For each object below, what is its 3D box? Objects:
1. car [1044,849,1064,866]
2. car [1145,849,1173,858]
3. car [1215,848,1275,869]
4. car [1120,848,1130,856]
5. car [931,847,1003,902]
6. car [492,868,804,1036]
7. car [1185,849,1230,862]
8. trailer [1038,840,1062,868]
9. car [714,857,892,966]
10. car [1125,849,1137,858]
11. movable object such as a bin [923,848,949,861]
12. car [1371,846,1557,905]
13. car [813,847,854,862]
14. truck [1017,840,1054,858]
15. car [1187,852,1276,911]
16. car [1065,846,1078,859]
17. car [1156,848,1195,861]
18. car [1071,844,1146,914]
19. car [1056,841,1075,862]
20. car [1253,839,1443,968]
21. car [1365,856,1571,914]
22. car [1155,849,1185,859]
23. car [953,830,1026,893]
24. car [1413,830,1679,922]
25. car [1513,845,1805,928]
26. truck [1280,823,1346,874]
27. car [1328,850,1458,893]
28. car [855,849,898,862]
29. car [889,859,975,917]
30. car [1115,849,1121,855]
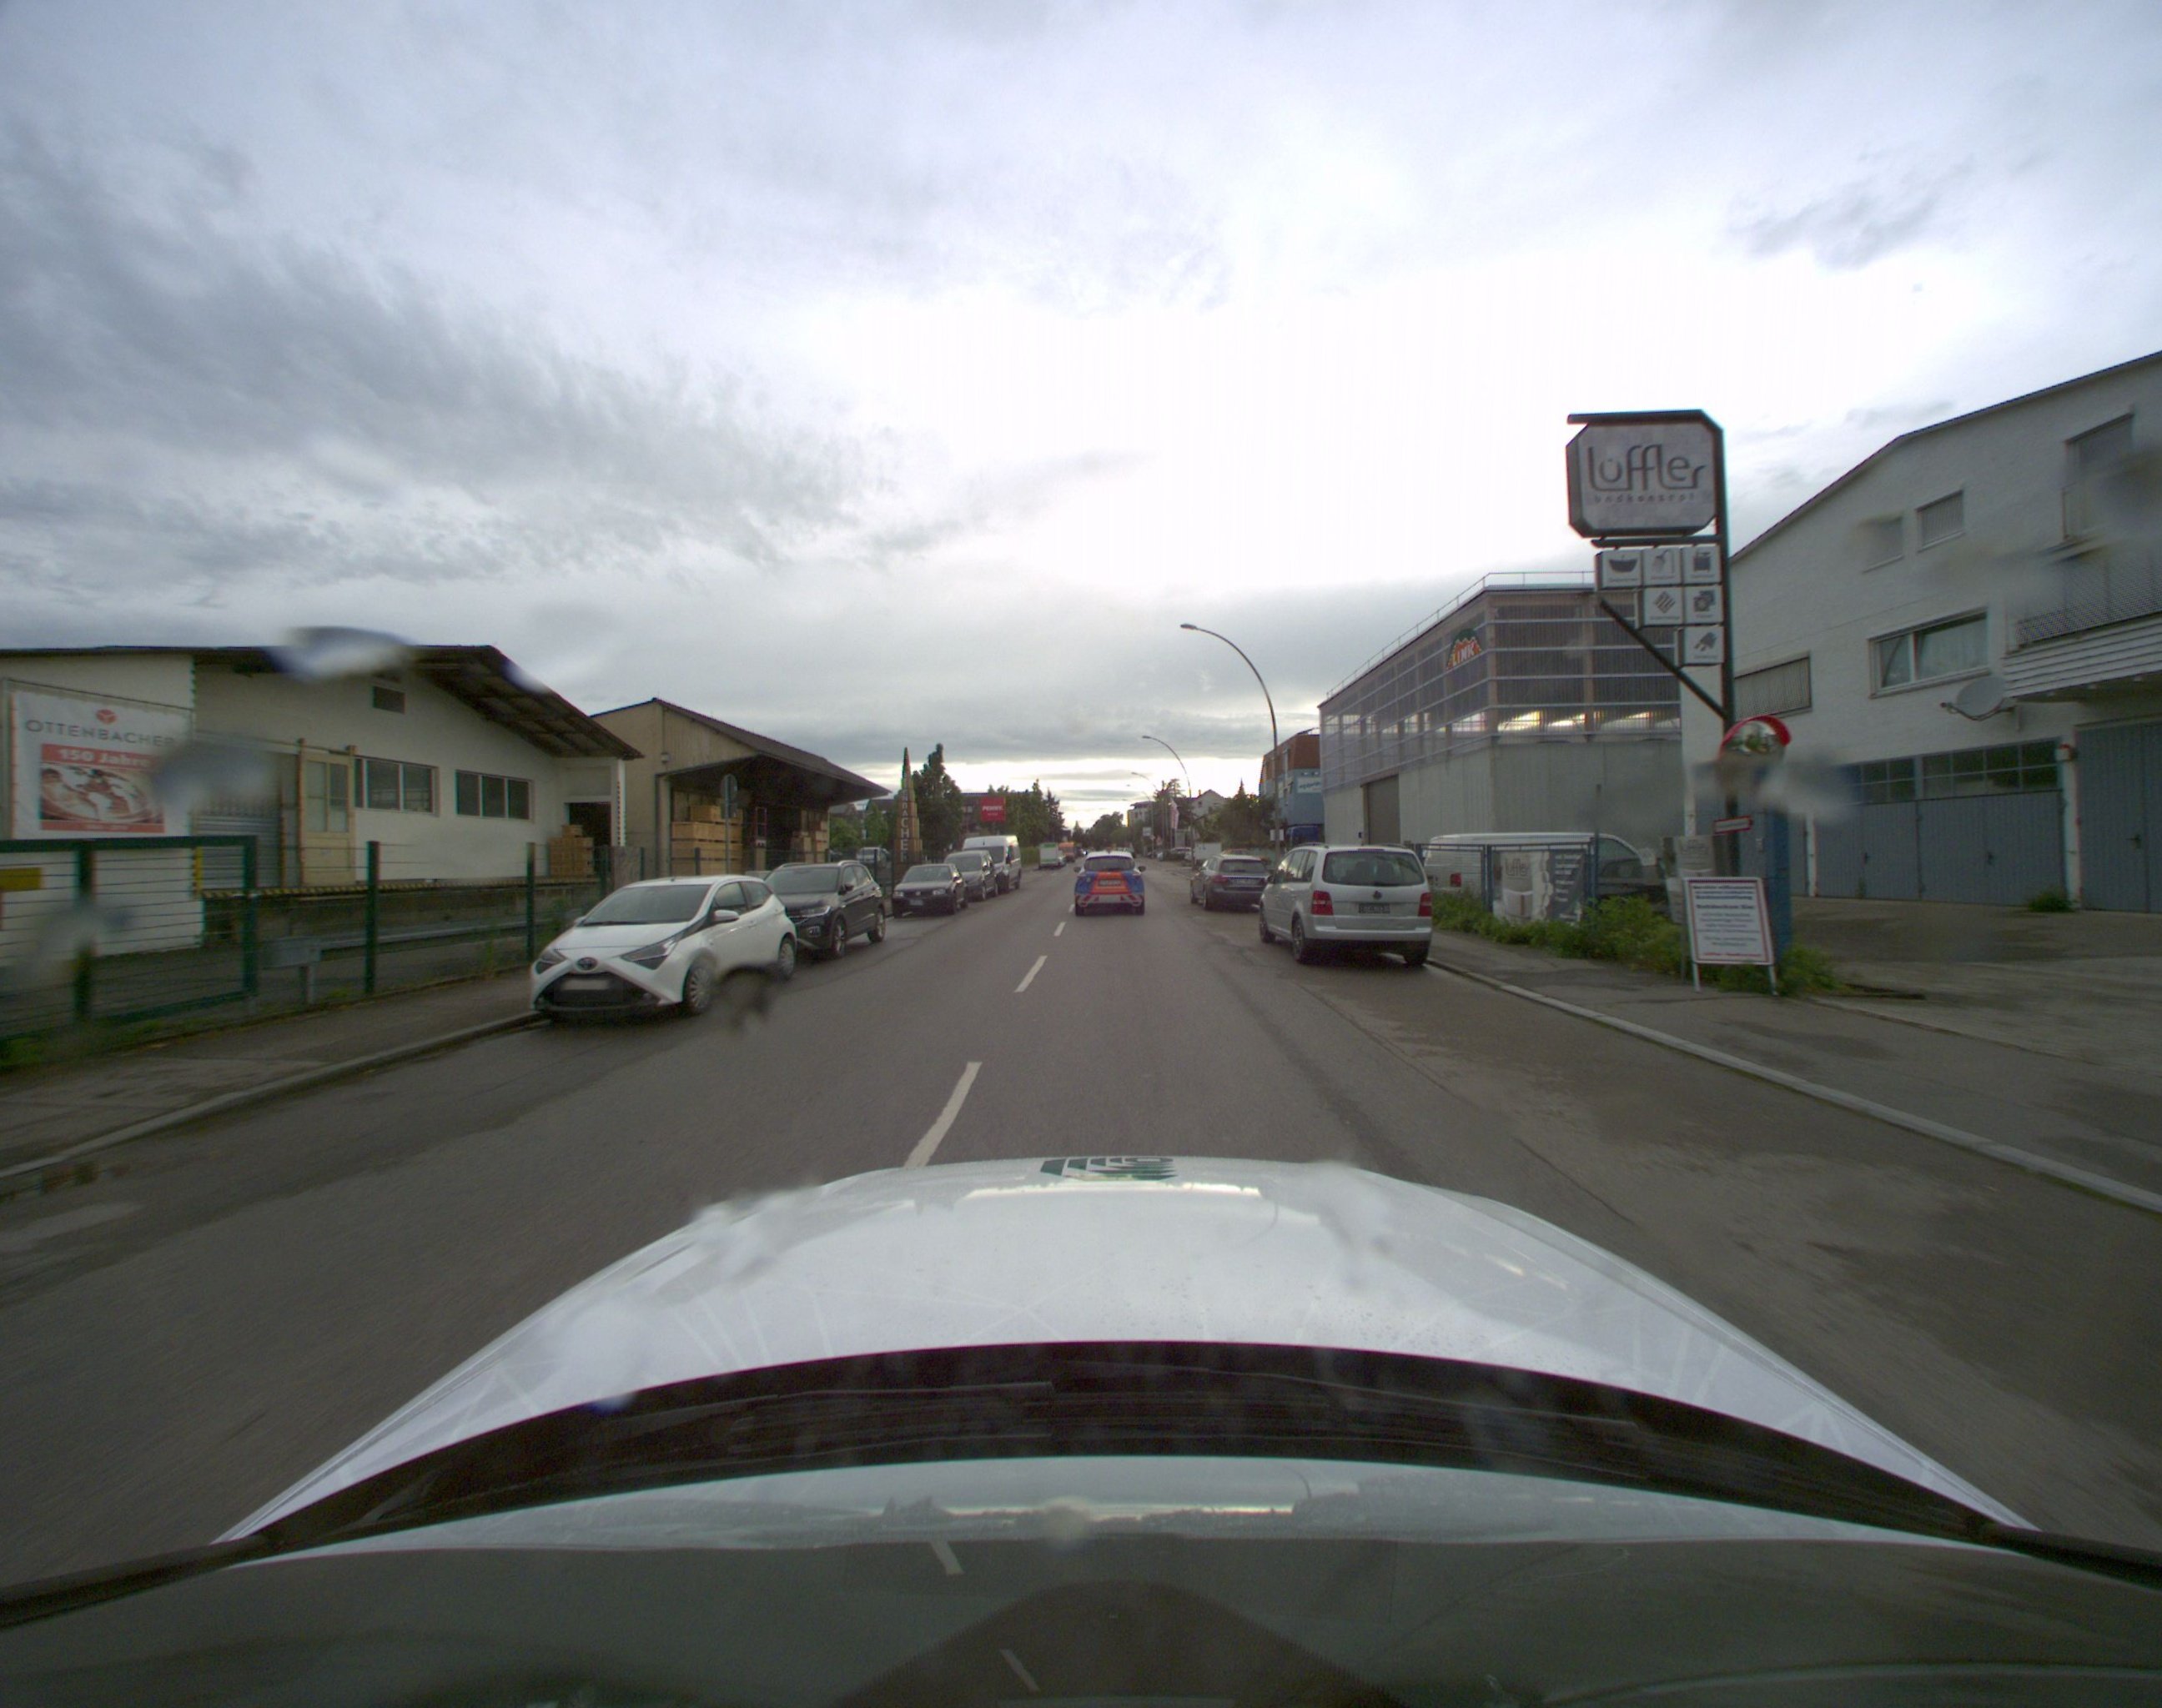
[{"bbox_3d":[-2.572,0.313,78.410,1.766,1.498,4.138,-1,1,1],"label":"car"},{"bbox_3d":[11.485,-0.031,120.019,3.974,1.266,1.950,0,0,0],"label":"car"},{"bbox_3d":[11.786,0.318,58.728,3.974,1.430,1.630,-1,0,0],"label":"car"},{"bbox_3d":[8.510,-0.426,157.416,1.706,1.438,4.524,0,0,-1],"label":"car"},{"bbox_3d":[-4.151,0.710,30.334,1.763,1.768,4.448,-5,0,2],"label":"car"},{"bbox_3d":[-4.832,0.986,9.740,1.610,1.509,3.662,-2,0,2],"label":"car"},{"bbox_3d":[13.087,0.146,84.484,4.400,1.393,1.880,0,0,0],"label":"car"},{"bbox_3d":[-2.778,-0.011,73.528,1.806,2.314,4.731,-3,0,1],"label":"trailer"},{"bbox_3d":[-4.690,0.879,14.374,1.655,1.584,3.917,-3,0,1],"label":"car"},{"bbox_3d":[7.628,-0.093,125.490,1.584,1.341,4.092,-1,0,0],"label":"car"},{"bbox_3d":[-20.315,0.084,114.055,3.416,1.759,1.997,0,0,-5],"label":"movable object such as a bin"},{"bbox_3d":[10.814,0.594,23.221,4.430,1.624,1.894,0,0,0],"label":"car"},{"bbox_3d":[-26.953,0.054,88.860,3.982,1.606,1.768,0,0,-6],"label":"car"},{"bbox_3d":[-7.697,-0.873,138.137,5.889,3.073,2.451,0,0,2],"label":"truck"},{"bbox_3d":[4.024,0.688,22.423,1.732,1.466,4.547,0,0,2],"label":"car"},{"bbox_3d":[-1.490,-0.256,135.500,1.986,1.947,5.366,-1,0,1],"label":"car"},{"bbox_3d":[11.036,0.048,95.175,4.323,1.475,1.903,0,0,0],"label":"car"},{"bbox_3d":[0.680,0.589,21.030,1.725,1.630,3.495,-1,0,1],"label":"car"},{"bbox_3d":[-1.894,-0.311,103.289,2.117,2.537,6.022,-2,0,1],"label":"car"},{"bbox_3d":[3.834,0.632,12.478,1.731,1.621,4.377,0,0,4],"label":"car"},{"bbox_3d":[9.604,0.749,20.455,4.305,1.379,1.850,0,0,0],"label":"car"},{"bbox_3d":[11.829,0.006,108.331,3.970,1.266,1.952,0,0,3],"label":"car"},{"bbox_3d":[-3.934,0.299,36.126,2.150,2.427,6.462,-4,0,2],"label":"car"},{"bbox_3d":[10.023,0.451,17.847,4.714,1.886,2.001,0,0,1],"label":"car"},{"bbox_3d":[10.687,0.574,15.325,4.088,1.457,2.001,0,0,1],"label":"car"},{"bbox_3d":[17.761,-0.386,62.503,4.132,3.673,2.719,2,0,-1],"label":"truck"},{"bbox_3d":[11.769,0.646,30.913,4.227,1.536,1.812,1,0,1],"label":"car"},{"bbox_3d":[-20.774,0.155,82.876,3.968,1.387,1.801,0,0,-4],"label":"car"},{"bbox_3d":[-4.253,0.914,23.891,1.656,1.448,4.317,-3,0,0],"label":"car"},{"bbox_3d":[10.365,-0.580,227.775,1.644,1.671,3.999,0,0,0],"label":"car"}]
